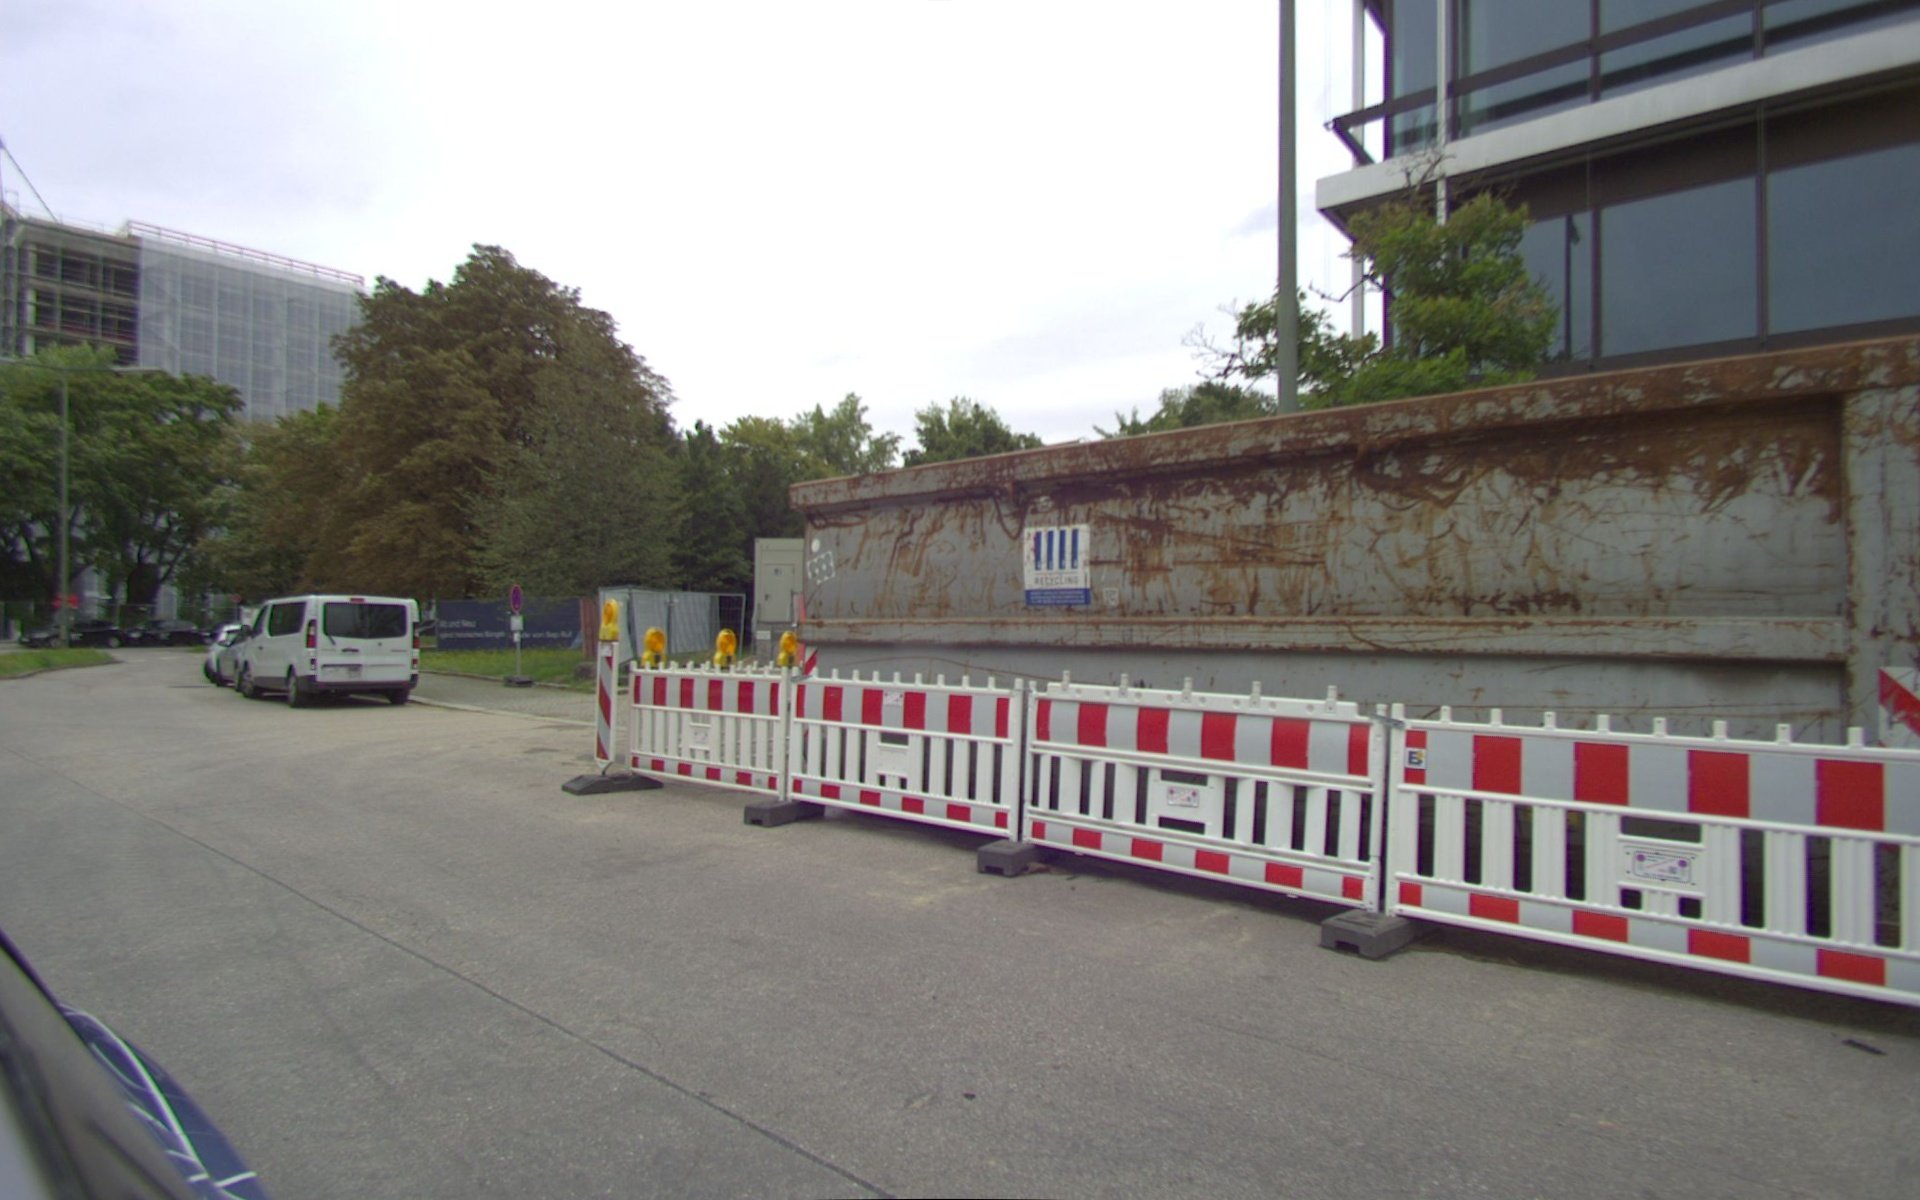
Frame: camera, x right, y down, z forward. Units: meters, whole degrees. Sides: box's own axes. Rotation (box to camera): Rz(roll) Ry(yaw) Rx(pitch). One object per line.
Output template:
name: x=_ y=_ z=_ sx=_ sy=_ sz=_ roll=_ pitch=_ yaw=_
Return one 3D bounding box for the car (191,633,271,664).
car: x=-40.986 y=2.699 z=56.966 sx=1.646 sy=1.584 sz=3.244 roll=1 pitch=-1 yaw=18

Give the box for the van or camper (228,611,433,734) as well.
van or camper: x=-12.306 y=1.320 z=19.593 sx=5.587 sy=2.050 sz=1.967 roll=-2 pitch=-4 yaw=43

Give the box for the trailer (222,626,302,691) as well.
trailer: x=-24.571 y=2.033 z=35.741 sx=1.752 sy=2.198 sz=2.786 roll=3 pitch=-2 yaw=-24

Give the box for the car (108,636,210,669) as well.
car: x=-41.554 y=2.690 z=52.602 sx=1.771 sy=1.584 sz=3.872 roll=2 pitch=-1 yaw=12

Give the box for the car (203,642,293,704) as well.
car: x=-19.148 y=1.922 z=27.146 sx=1.714 sy=1.470 sz=4.039 roll=4 pitch=-4 yaw=-38

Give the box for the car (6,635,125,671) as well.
car: x=-42.577 y=2.482 z=48.294 sx=1.774 sy=1.584 sz=3.865 roll=1 pitch=-1 yaw=17

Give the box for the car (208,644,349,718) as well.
car: x=-15.825 y=1.816 z=23.414 sx=1.970 sy=1.470 sz=4.123 roll=5 pitch=-4 yaw=-43
